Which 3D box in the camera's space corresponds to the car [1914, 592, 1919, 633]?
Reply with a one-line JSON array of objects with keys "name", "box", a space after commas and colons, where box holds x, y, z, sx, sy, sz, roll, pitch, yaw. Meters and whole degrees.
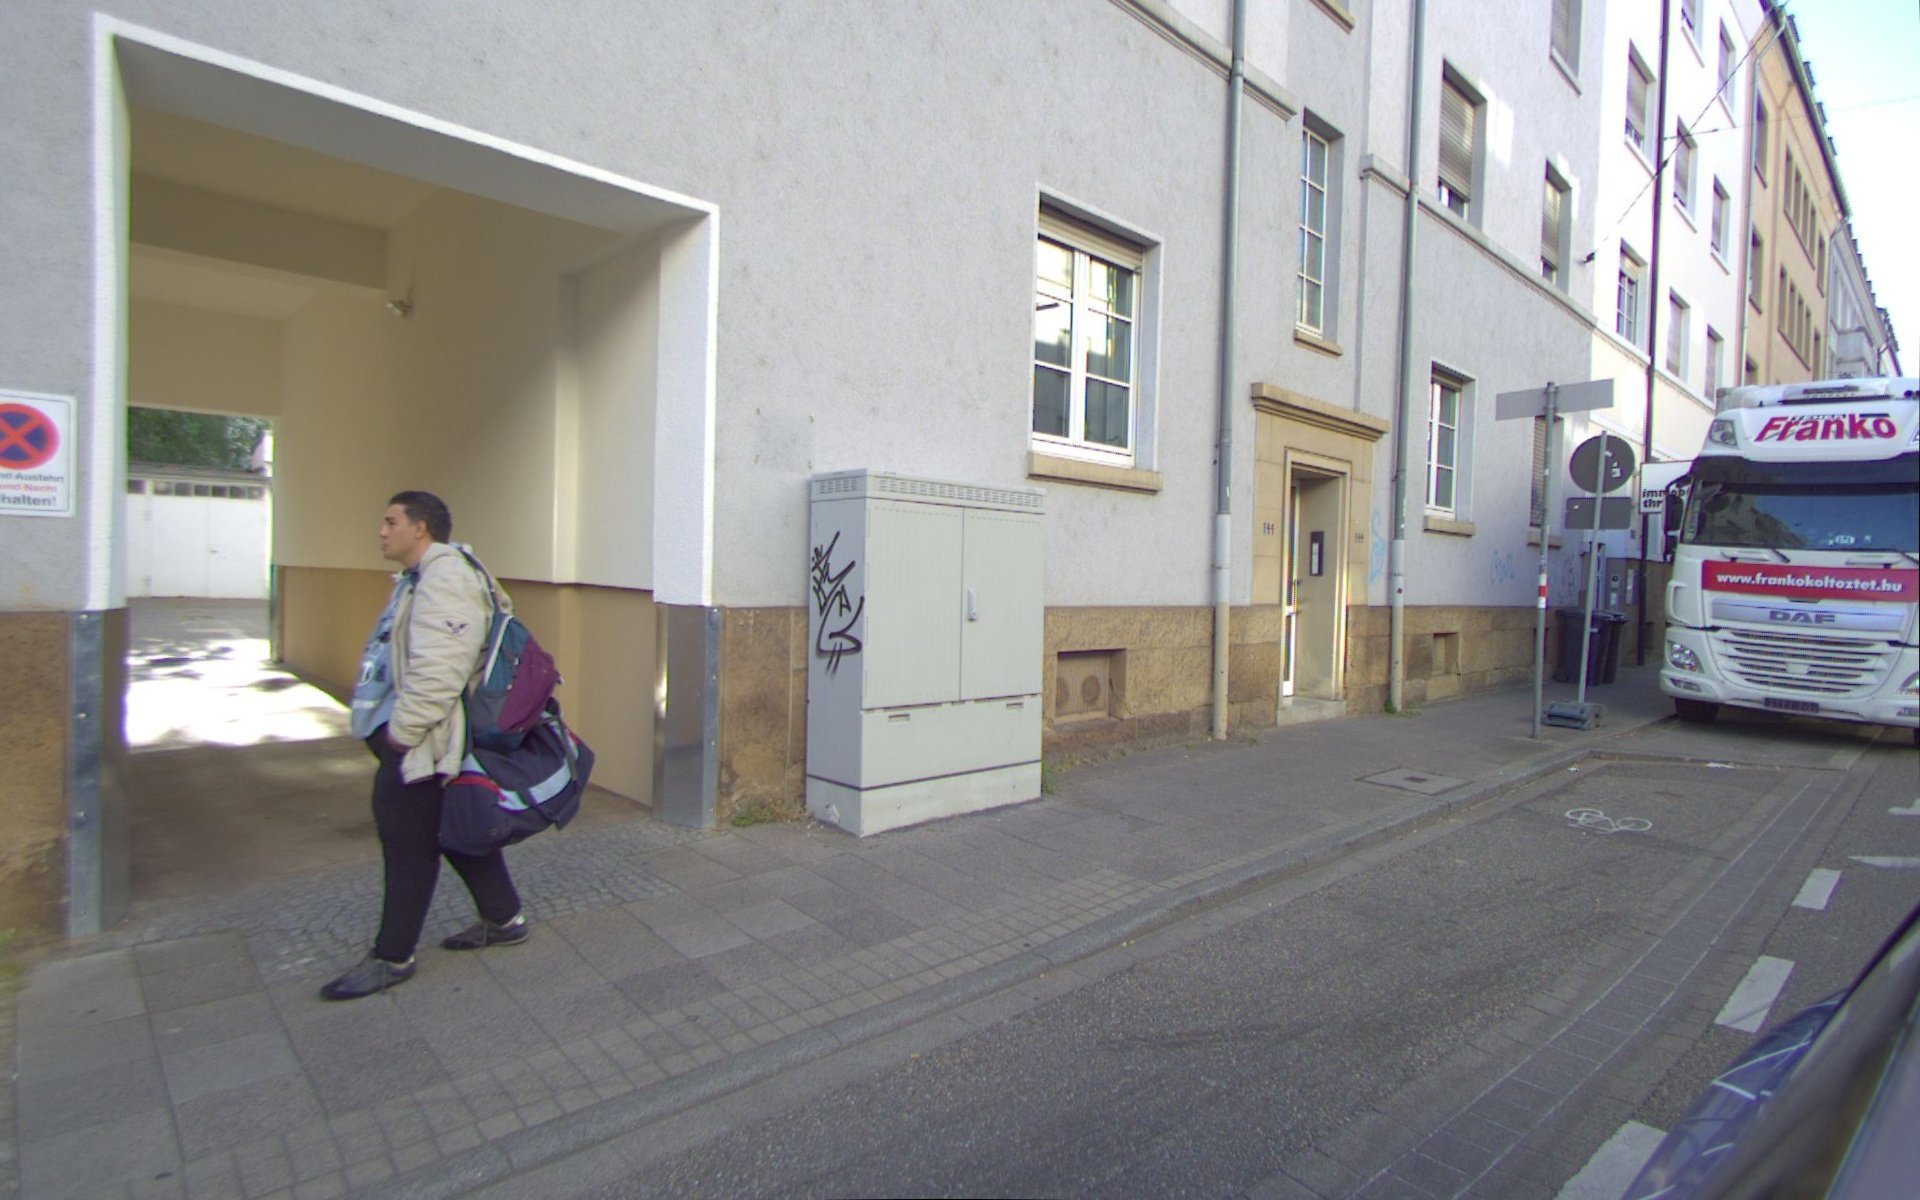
[{"name": "car", "box": [37.679, 0.471, 38.631, 4.080, 1.551, 1.681, 0, 0, -44]}]

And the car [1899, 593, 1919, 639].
[{"name": "car", "box": [33.509, 0.537, 34.733, 4.080, 1.551, 1.681, 0, 0, -44]}]

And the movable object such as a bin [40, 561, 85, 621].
[{"name": "movable object such as a bin", "box": [-14.373, -0.147, 16.200, 0.518, 0.922, 0.580, 0, 2, -43]}]

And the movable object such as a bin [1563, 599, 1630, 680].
[{"name": "movable object such as a bin", "box": [9.175, 0.555, 14.589, 0.560, 1.107, 0.665, 0, 2, -43]}]

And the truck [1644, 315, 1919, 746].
[{"name": "truck", "box": [12.579, -0.675, 13.881, 11.621, 3.975, 2.778, 0, 2, -44]}]

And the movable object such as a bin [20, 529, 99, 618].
[{"name": "movable object such as a bin", "box": [-15.150, -0.454, 17.018, 0.946, 1.426, 1.597, 0, 2, -43]}]

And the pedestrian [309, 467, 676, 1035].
[{"name": "pedestrian", "box": [-1.595, 0.400, 3.429, 0.854, 1.590, 0.875, 1, 3, -43]}]

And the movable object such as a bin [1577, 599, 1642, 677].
[{"name": "movable object such as a bin", "box": [9.654, 0.547, 15.039, 0.560, 1.107, 0.665, 0, 2, -43]}]
